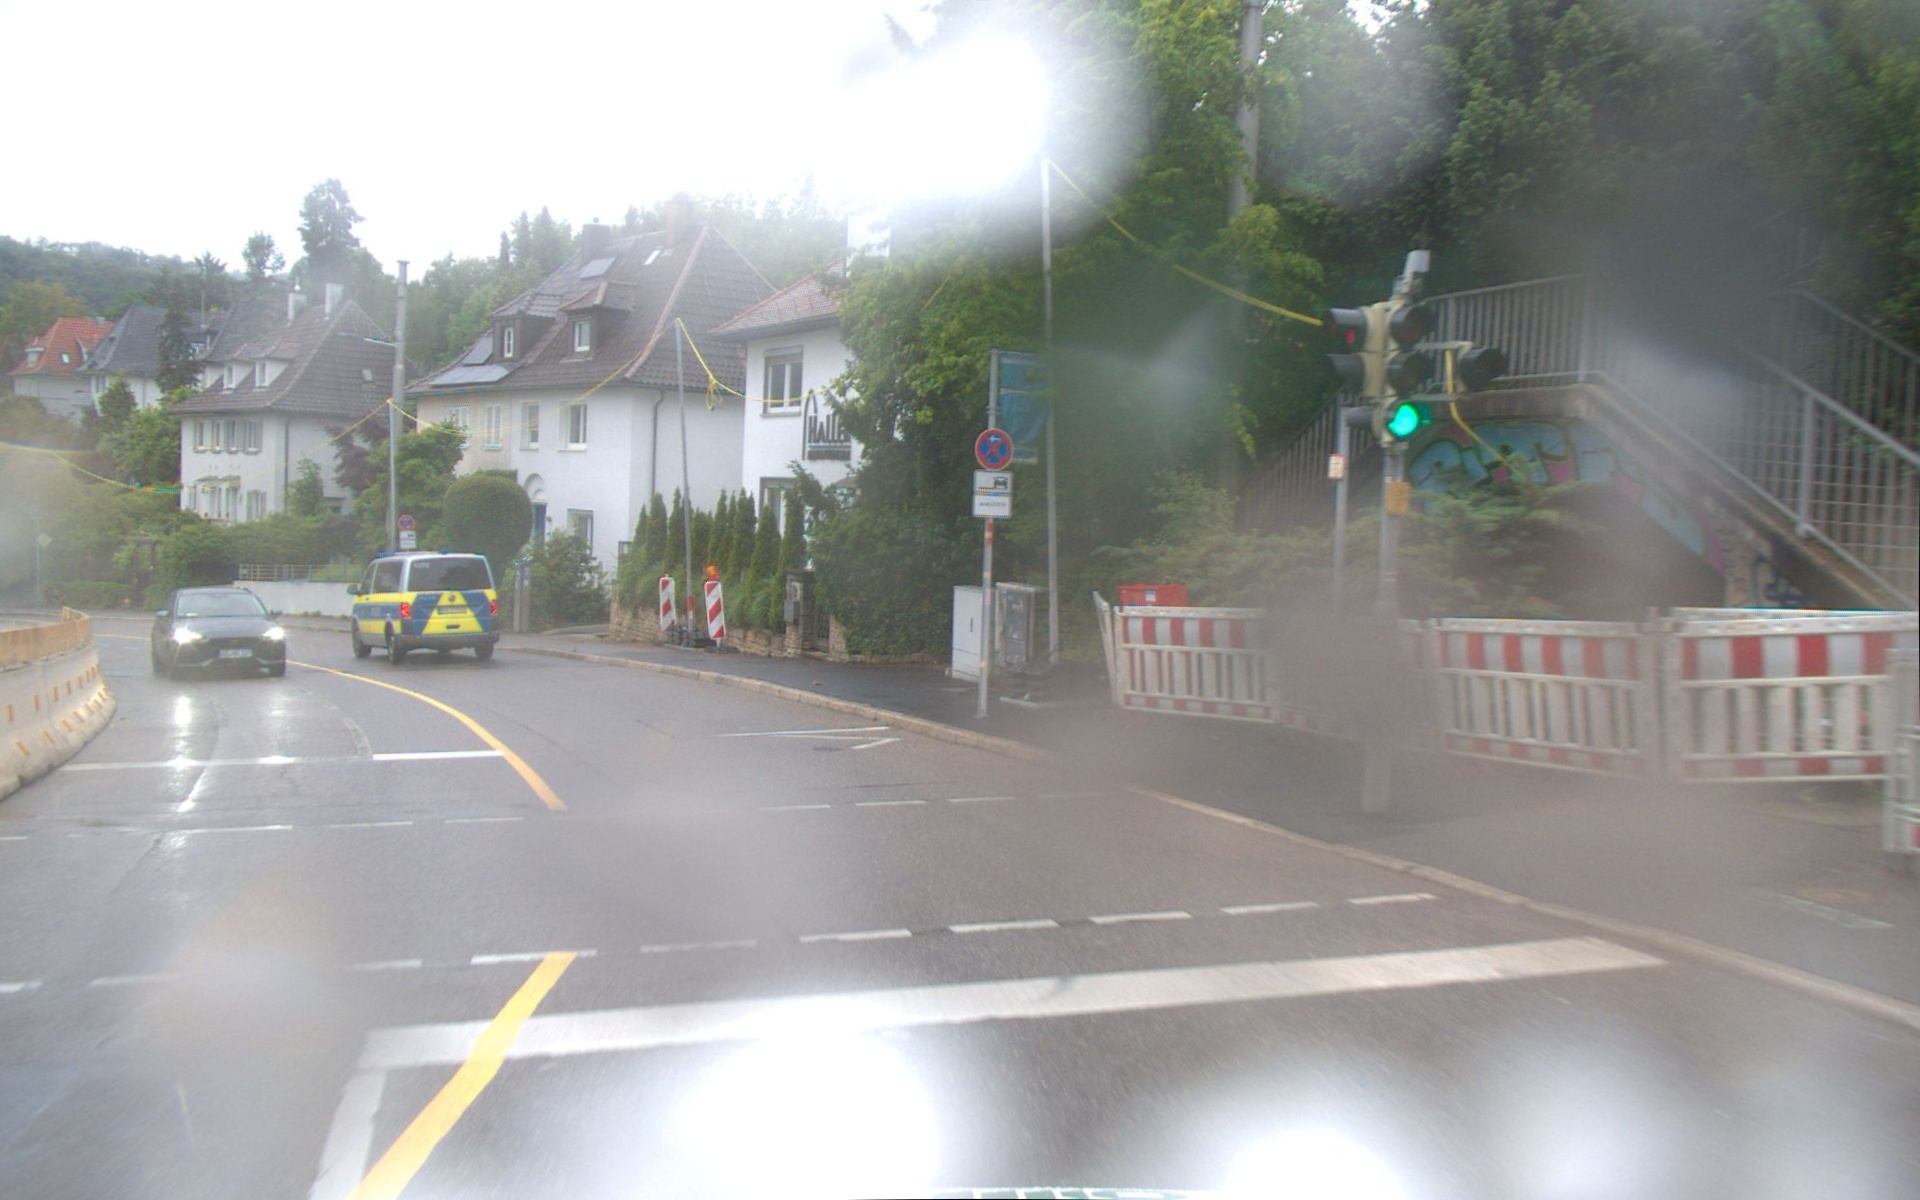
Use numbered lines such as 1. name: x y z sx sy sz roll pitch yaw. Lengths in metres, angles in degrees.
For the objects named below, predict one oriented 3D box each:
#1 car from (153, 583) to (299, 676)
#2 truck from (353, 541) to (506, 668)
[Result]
1. car: -12.586 0.450 28.217 1.766 1.427 4.319 0 1 -31
2. truck: -10.176 -0.016 31.503 1.971 2.048 4.693 -1 4 -28
